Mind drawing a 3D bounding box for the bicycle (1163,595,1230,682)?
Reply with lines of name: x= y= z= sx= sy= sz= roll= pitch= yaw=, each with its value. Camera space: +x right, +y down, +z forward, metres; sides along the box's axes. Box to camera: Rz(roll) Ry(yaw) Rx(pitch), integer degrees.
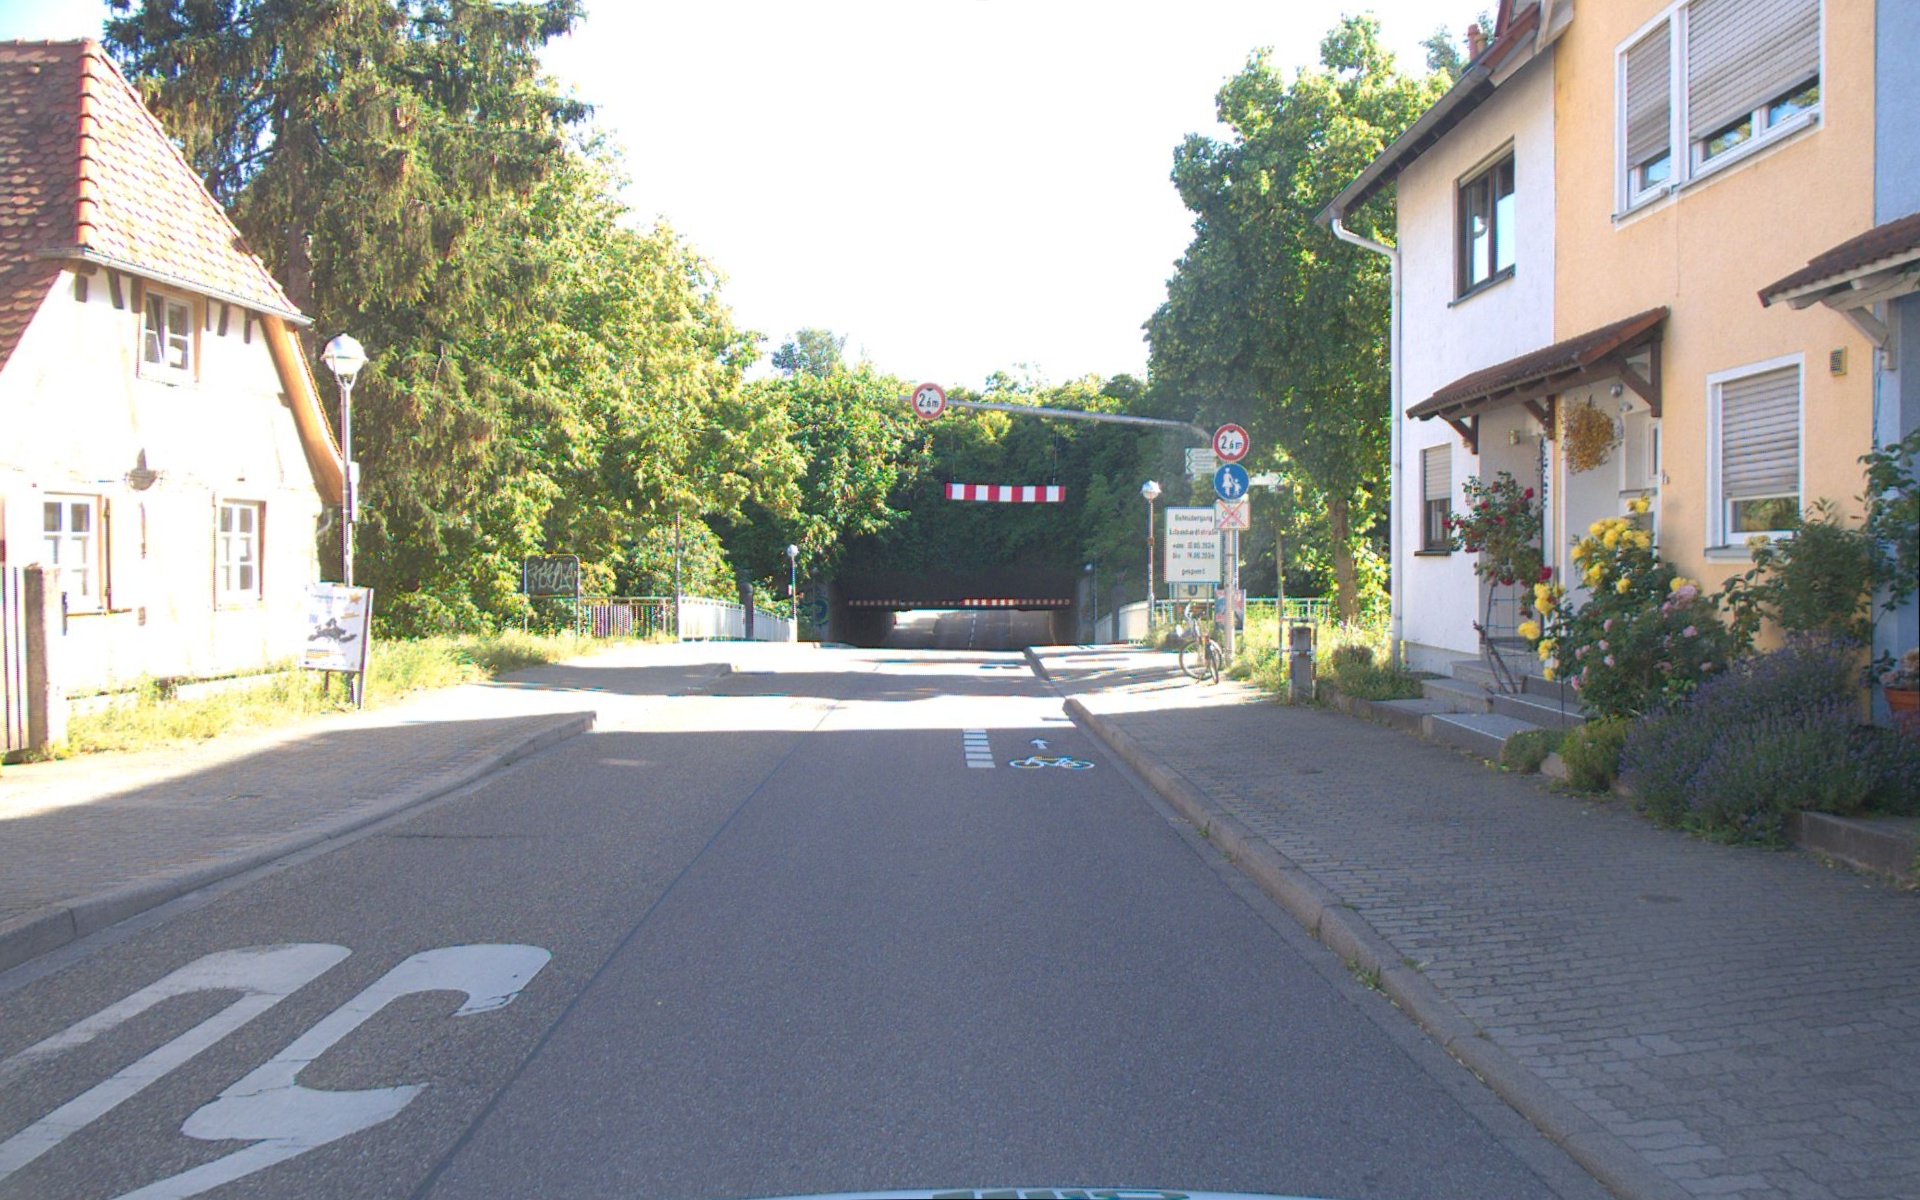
bicycle: x=3.421 y=0.538 z=24.037 sx=0.675 sy=1.177 sz=1.539 roll=-3 pitch=1 yaw=-1
